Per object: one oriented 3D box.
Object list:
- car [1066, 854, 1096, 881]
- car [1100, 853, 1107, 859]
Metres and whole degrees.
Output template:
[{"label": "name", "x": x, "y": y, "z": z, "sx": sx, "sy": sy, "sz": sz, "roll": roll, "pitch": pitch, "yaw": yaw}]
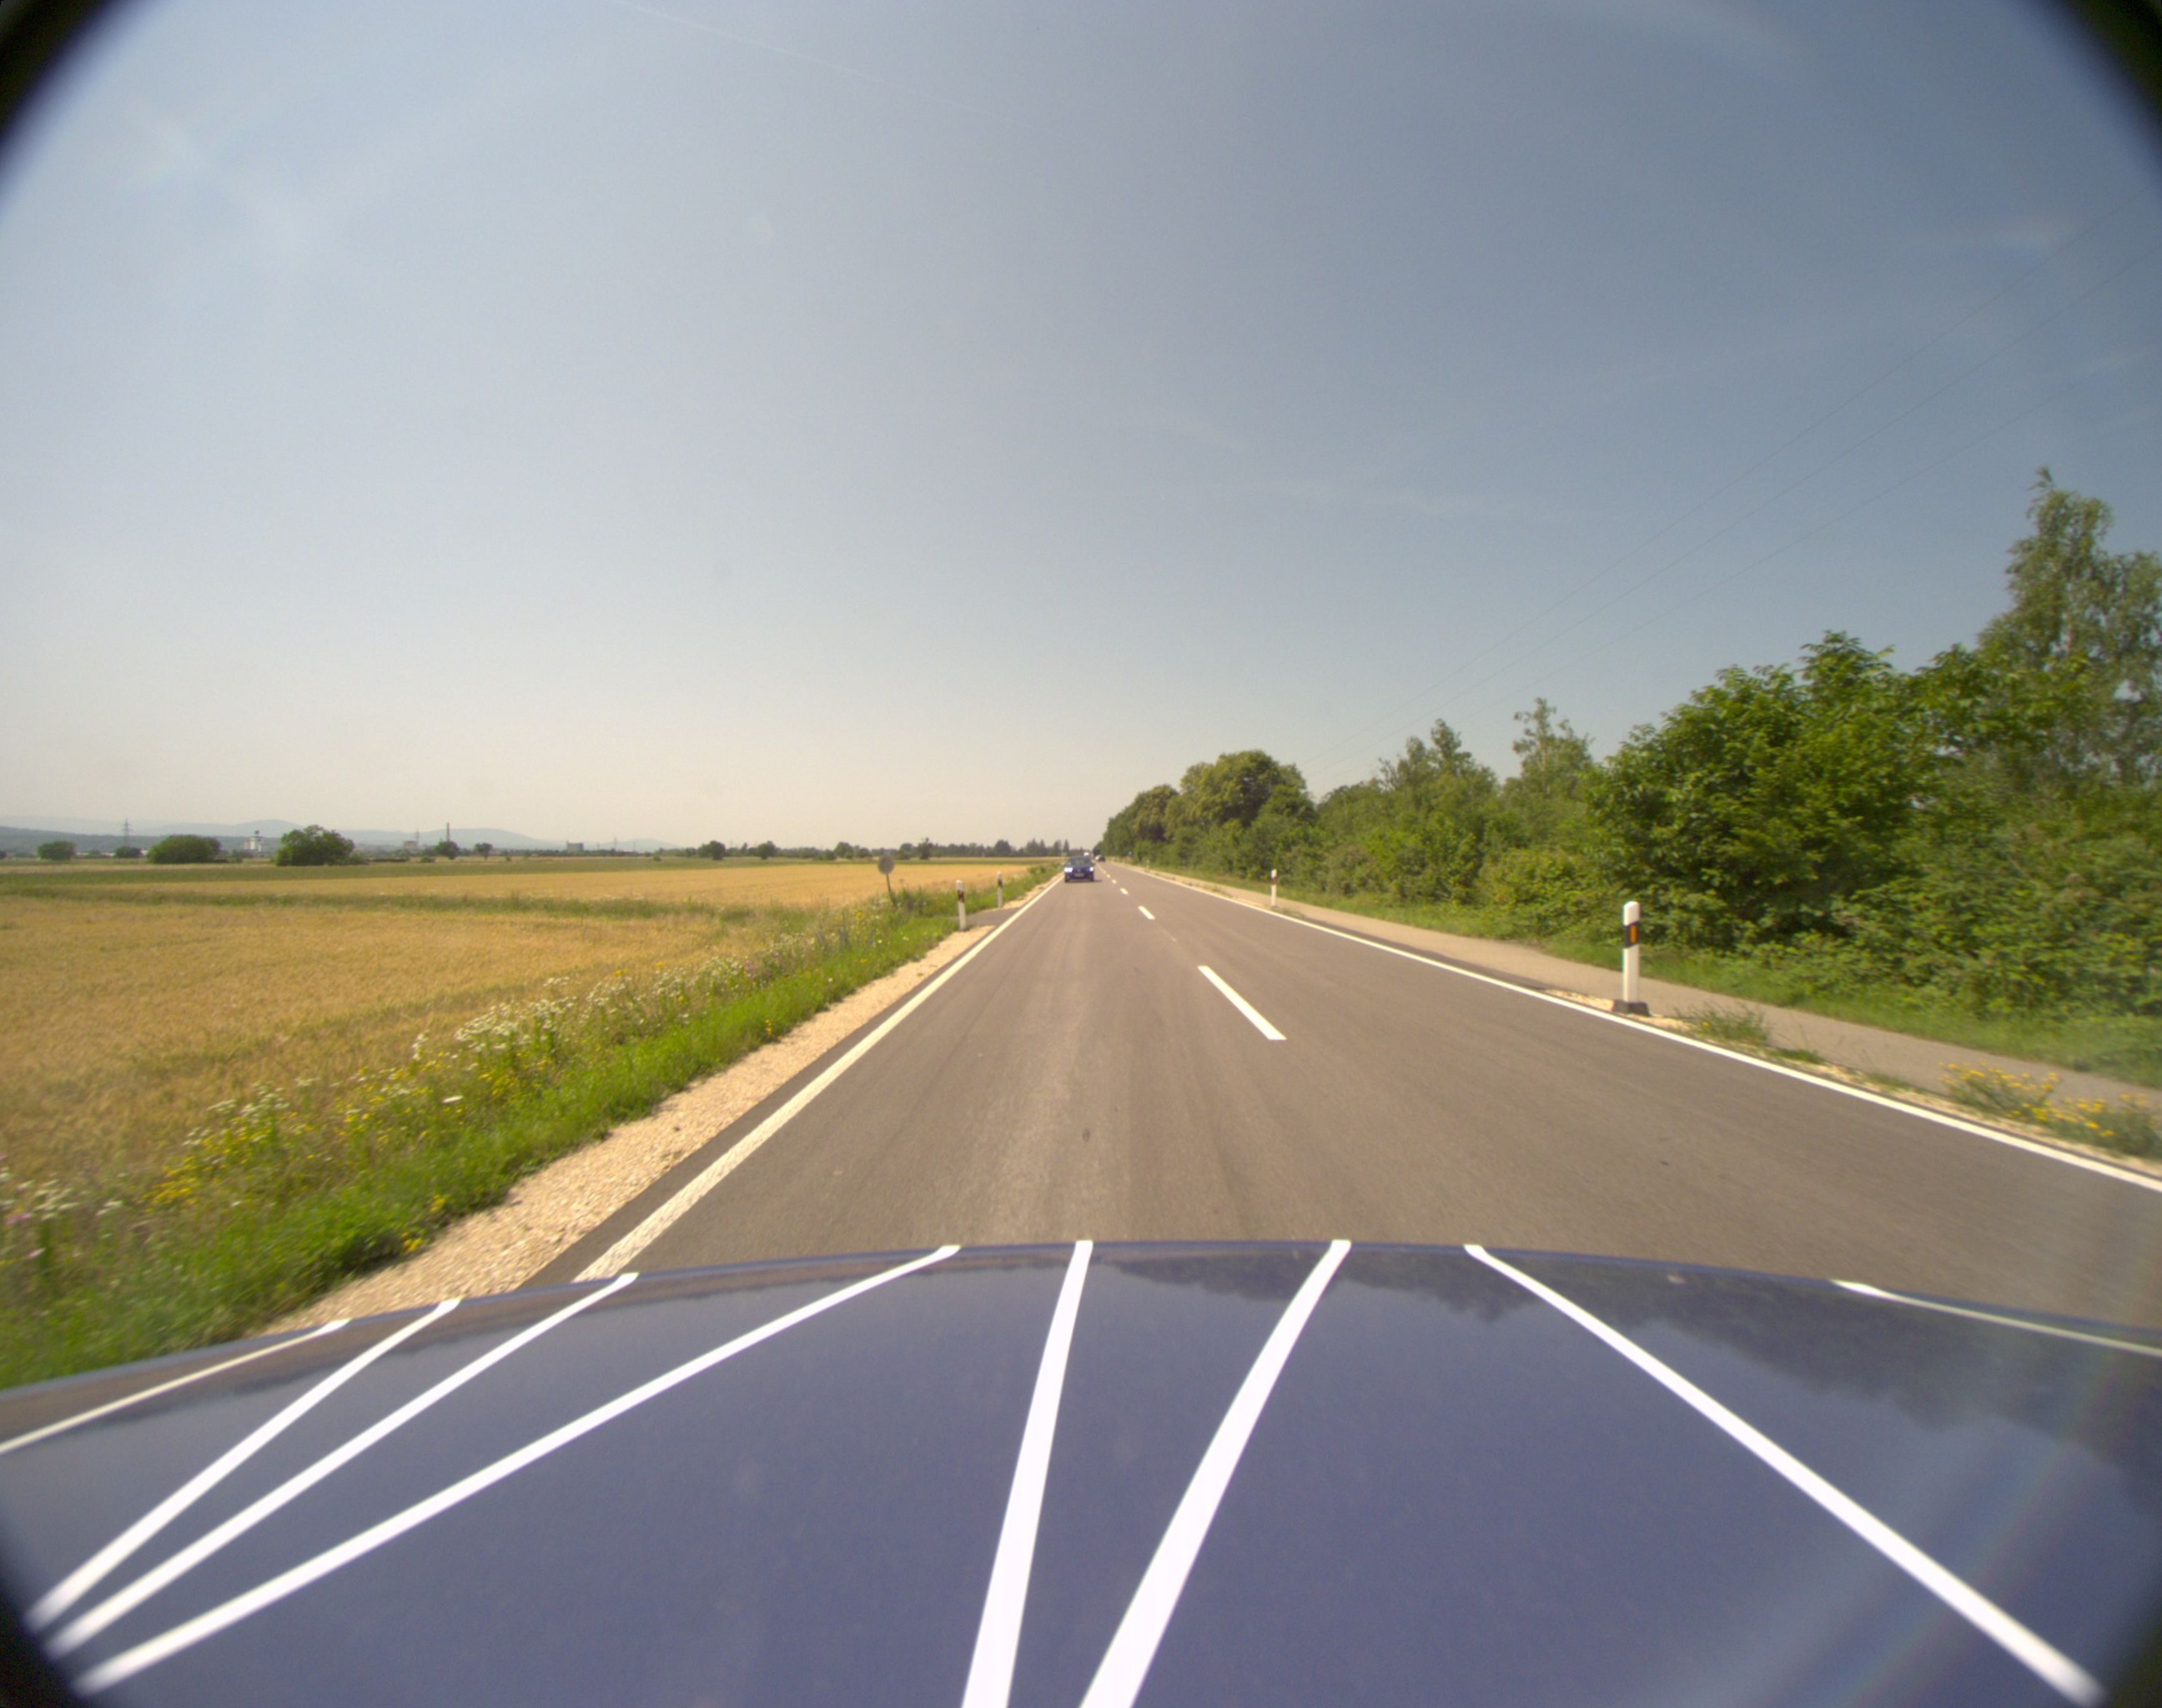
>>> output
[{"label": "car", "x": -0.003, "y": 0.768, "z": 45.596, "sx": 1.662, "sy": 1.509, "sz": 3.999, "roll": -2, "pitch": 1, "yaw": 0}, {"label": "car", "x": 5.323, "y": 0.441, "z": 183.723, "sx": 1.661, "sy": 1.508, "sz": 4.000, "roll": 0, "pitch": 0, "yaw": 2}]
